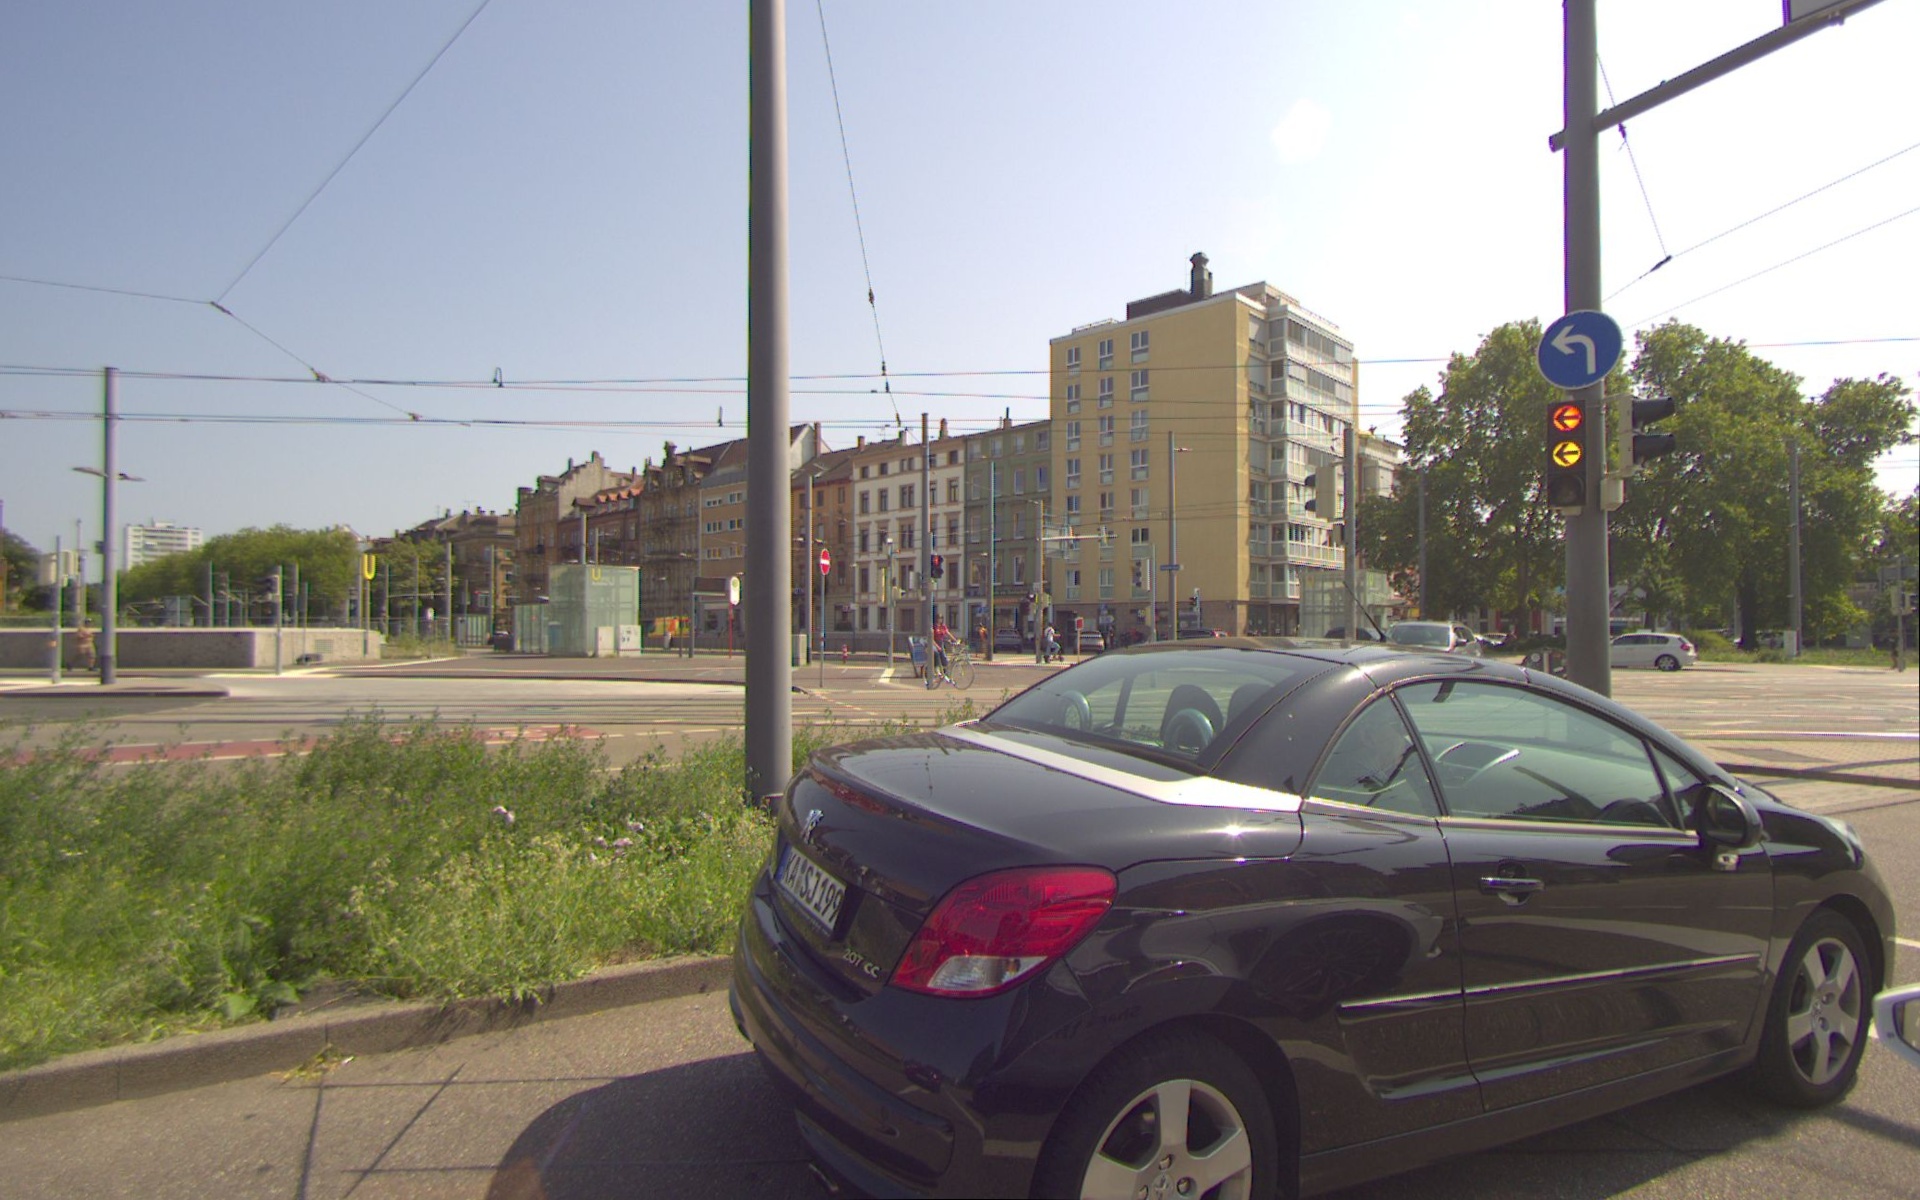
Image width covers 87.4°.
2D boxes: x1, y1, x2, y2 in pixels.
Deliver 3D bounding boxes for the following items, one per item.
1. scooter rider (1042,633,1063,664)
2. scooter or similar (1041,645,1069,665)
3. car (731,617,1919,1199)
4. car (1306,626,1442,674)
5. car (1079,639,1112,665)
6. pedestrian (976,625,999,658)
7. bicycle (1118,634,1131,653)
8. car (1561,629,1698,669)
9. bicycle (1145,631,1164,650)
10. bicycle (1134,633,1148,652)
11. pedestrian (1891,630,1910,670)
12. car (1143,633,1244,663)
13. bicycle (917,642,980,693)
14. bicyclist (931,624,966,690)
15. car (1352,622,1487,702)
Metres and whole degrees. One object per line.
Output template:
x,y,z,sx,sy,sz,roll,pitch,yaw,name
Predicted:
4.058,2.120,43.997,0.602,1.371,0.682,1,-2,-34,scooter rider
4.153,2.392,43.877,1.132,0.835,0.517,1,-2,-35,scooter or similar
1.314,0.796,3.299,3.731,1.406,1.760,1,0,-26,car
14.278,1.689,34.868,1.720,1.581,4.171,1,-2,-32,car
8.254,3.152,61.485,1.712,1.528,4.002,0,-2,4,car
1.298,1.948,47.400,0.852,1.563,0.734,2,-2,-41,pedestrian
11.265,2.974,68.906,0.680,1.220,2.793,0,-2,5,bicycle
25.510,1.817,38.351,4.141,1.434,1.767,-1,-2,42,car
13.041,2.713,67.337,0.892,1.220,3.265,0,-2,5,bicycle
12.255,2.854,68.086,0.680,1.220,3.265,0,-2,5,bicycle
39.749,2.108,42.460,0.547,1.706,0.452,-1,-2,42,pedestrian
11.702,2.364,50.468,4.700,1.434,1.767,-1,-2,42,car
-0.289,1.576,23.802,0.499,1.108,1.918,1,-2,-35,bicycle
-0.283,1.351,23.953,0.632,1.529,0.553,1,-2,-36,bicyclist
10.428,1.325,22.610,1.744,1.621,4.524,-1,-2,39,car
